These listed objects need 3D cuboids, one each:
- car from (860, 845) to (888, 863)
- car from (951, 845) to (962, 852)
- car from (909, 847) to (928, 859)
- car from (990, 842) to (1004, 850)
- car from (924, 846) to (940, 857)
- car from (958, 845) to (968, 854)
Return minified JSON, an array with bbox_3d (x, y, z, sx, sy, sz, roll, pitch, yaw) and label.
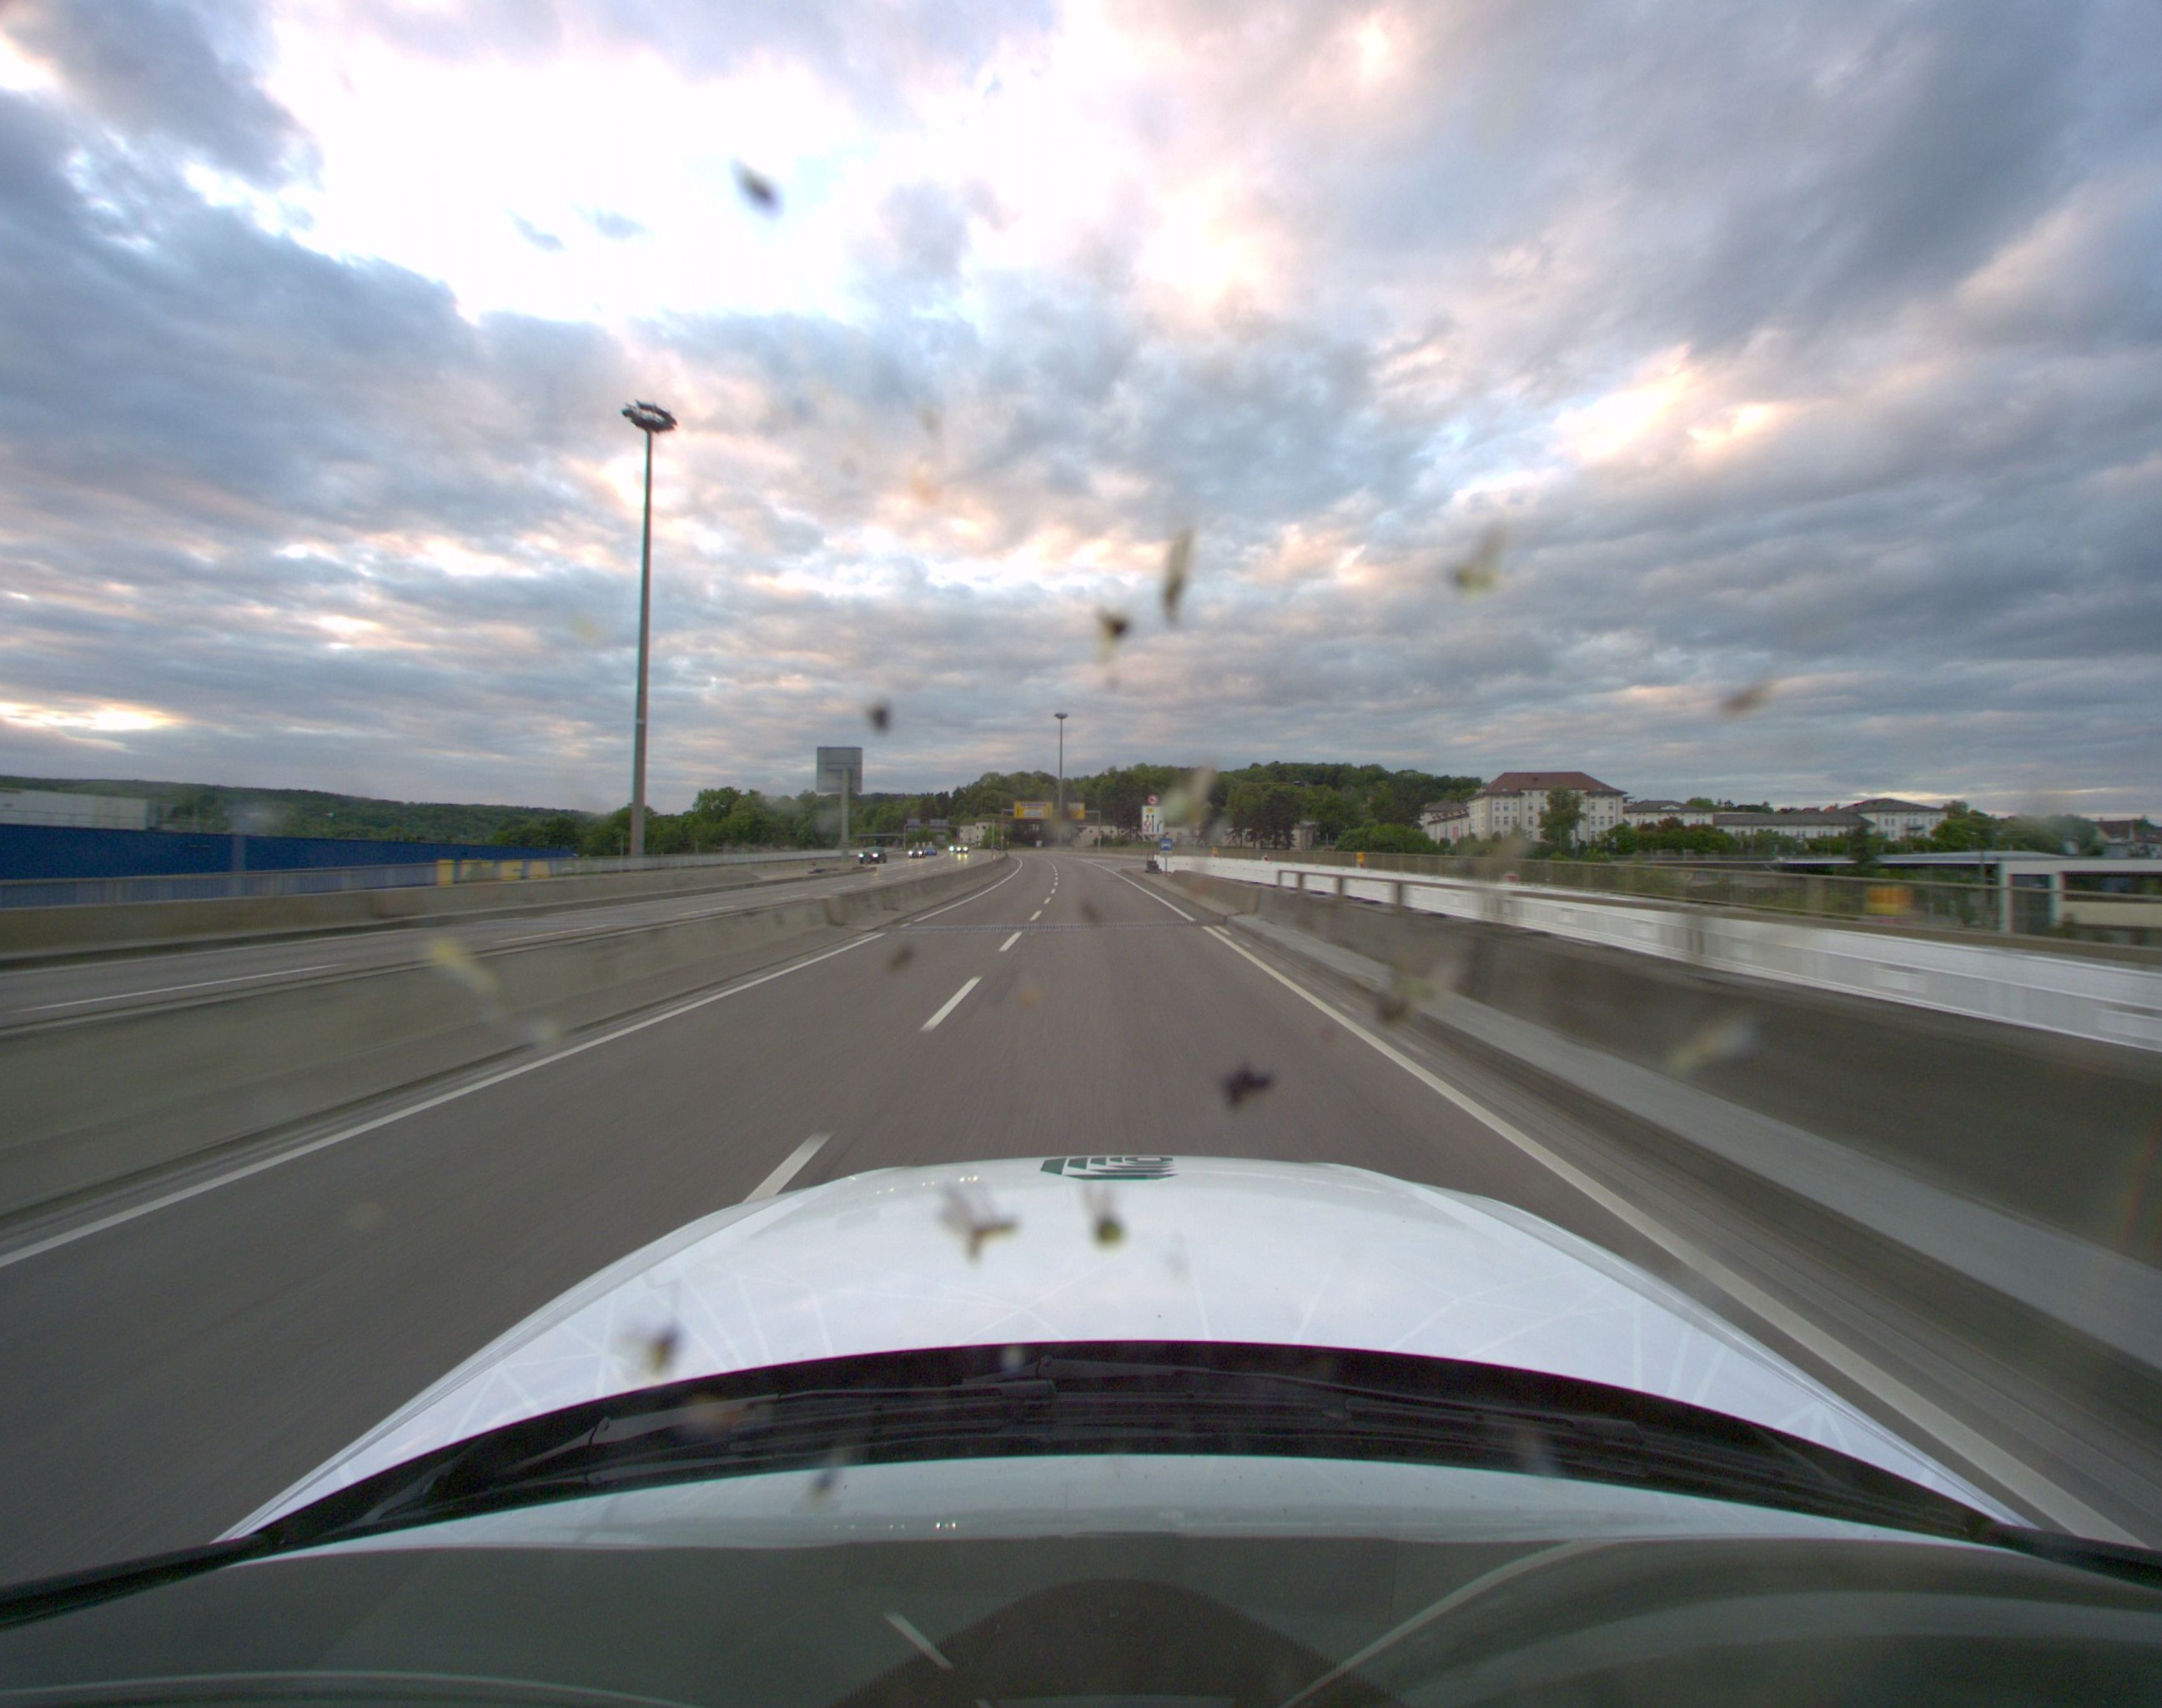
[{"bbox_3d":[-20.119,0.006,79.355,1.630,1.717,4.001,1,0,1],"label":"car"},{"bbox_3d":[-28.376,-1.287,185.787,1.815,1.534,4.520,0,0,-17],"label":"car"},{"bbox_3d":[-20.903,-0.157,104.832,1.792,1.486,3.837,0,-1,-3],"label":"car"},{"bbox_3d":[-19.615,-1.769,189.879,2.310,1.763,4.238,1,0,-17],"label":"car"},{"bbox_3d":[-22.598,-0.392,123.408,1.894,1.596,4.158,-1,1,-3],"label":"car"},{"bbox_3d":[-19.973,-0.742,137.526,1.710,1.494,4.068,1,0,-9],"label":"car"}]
